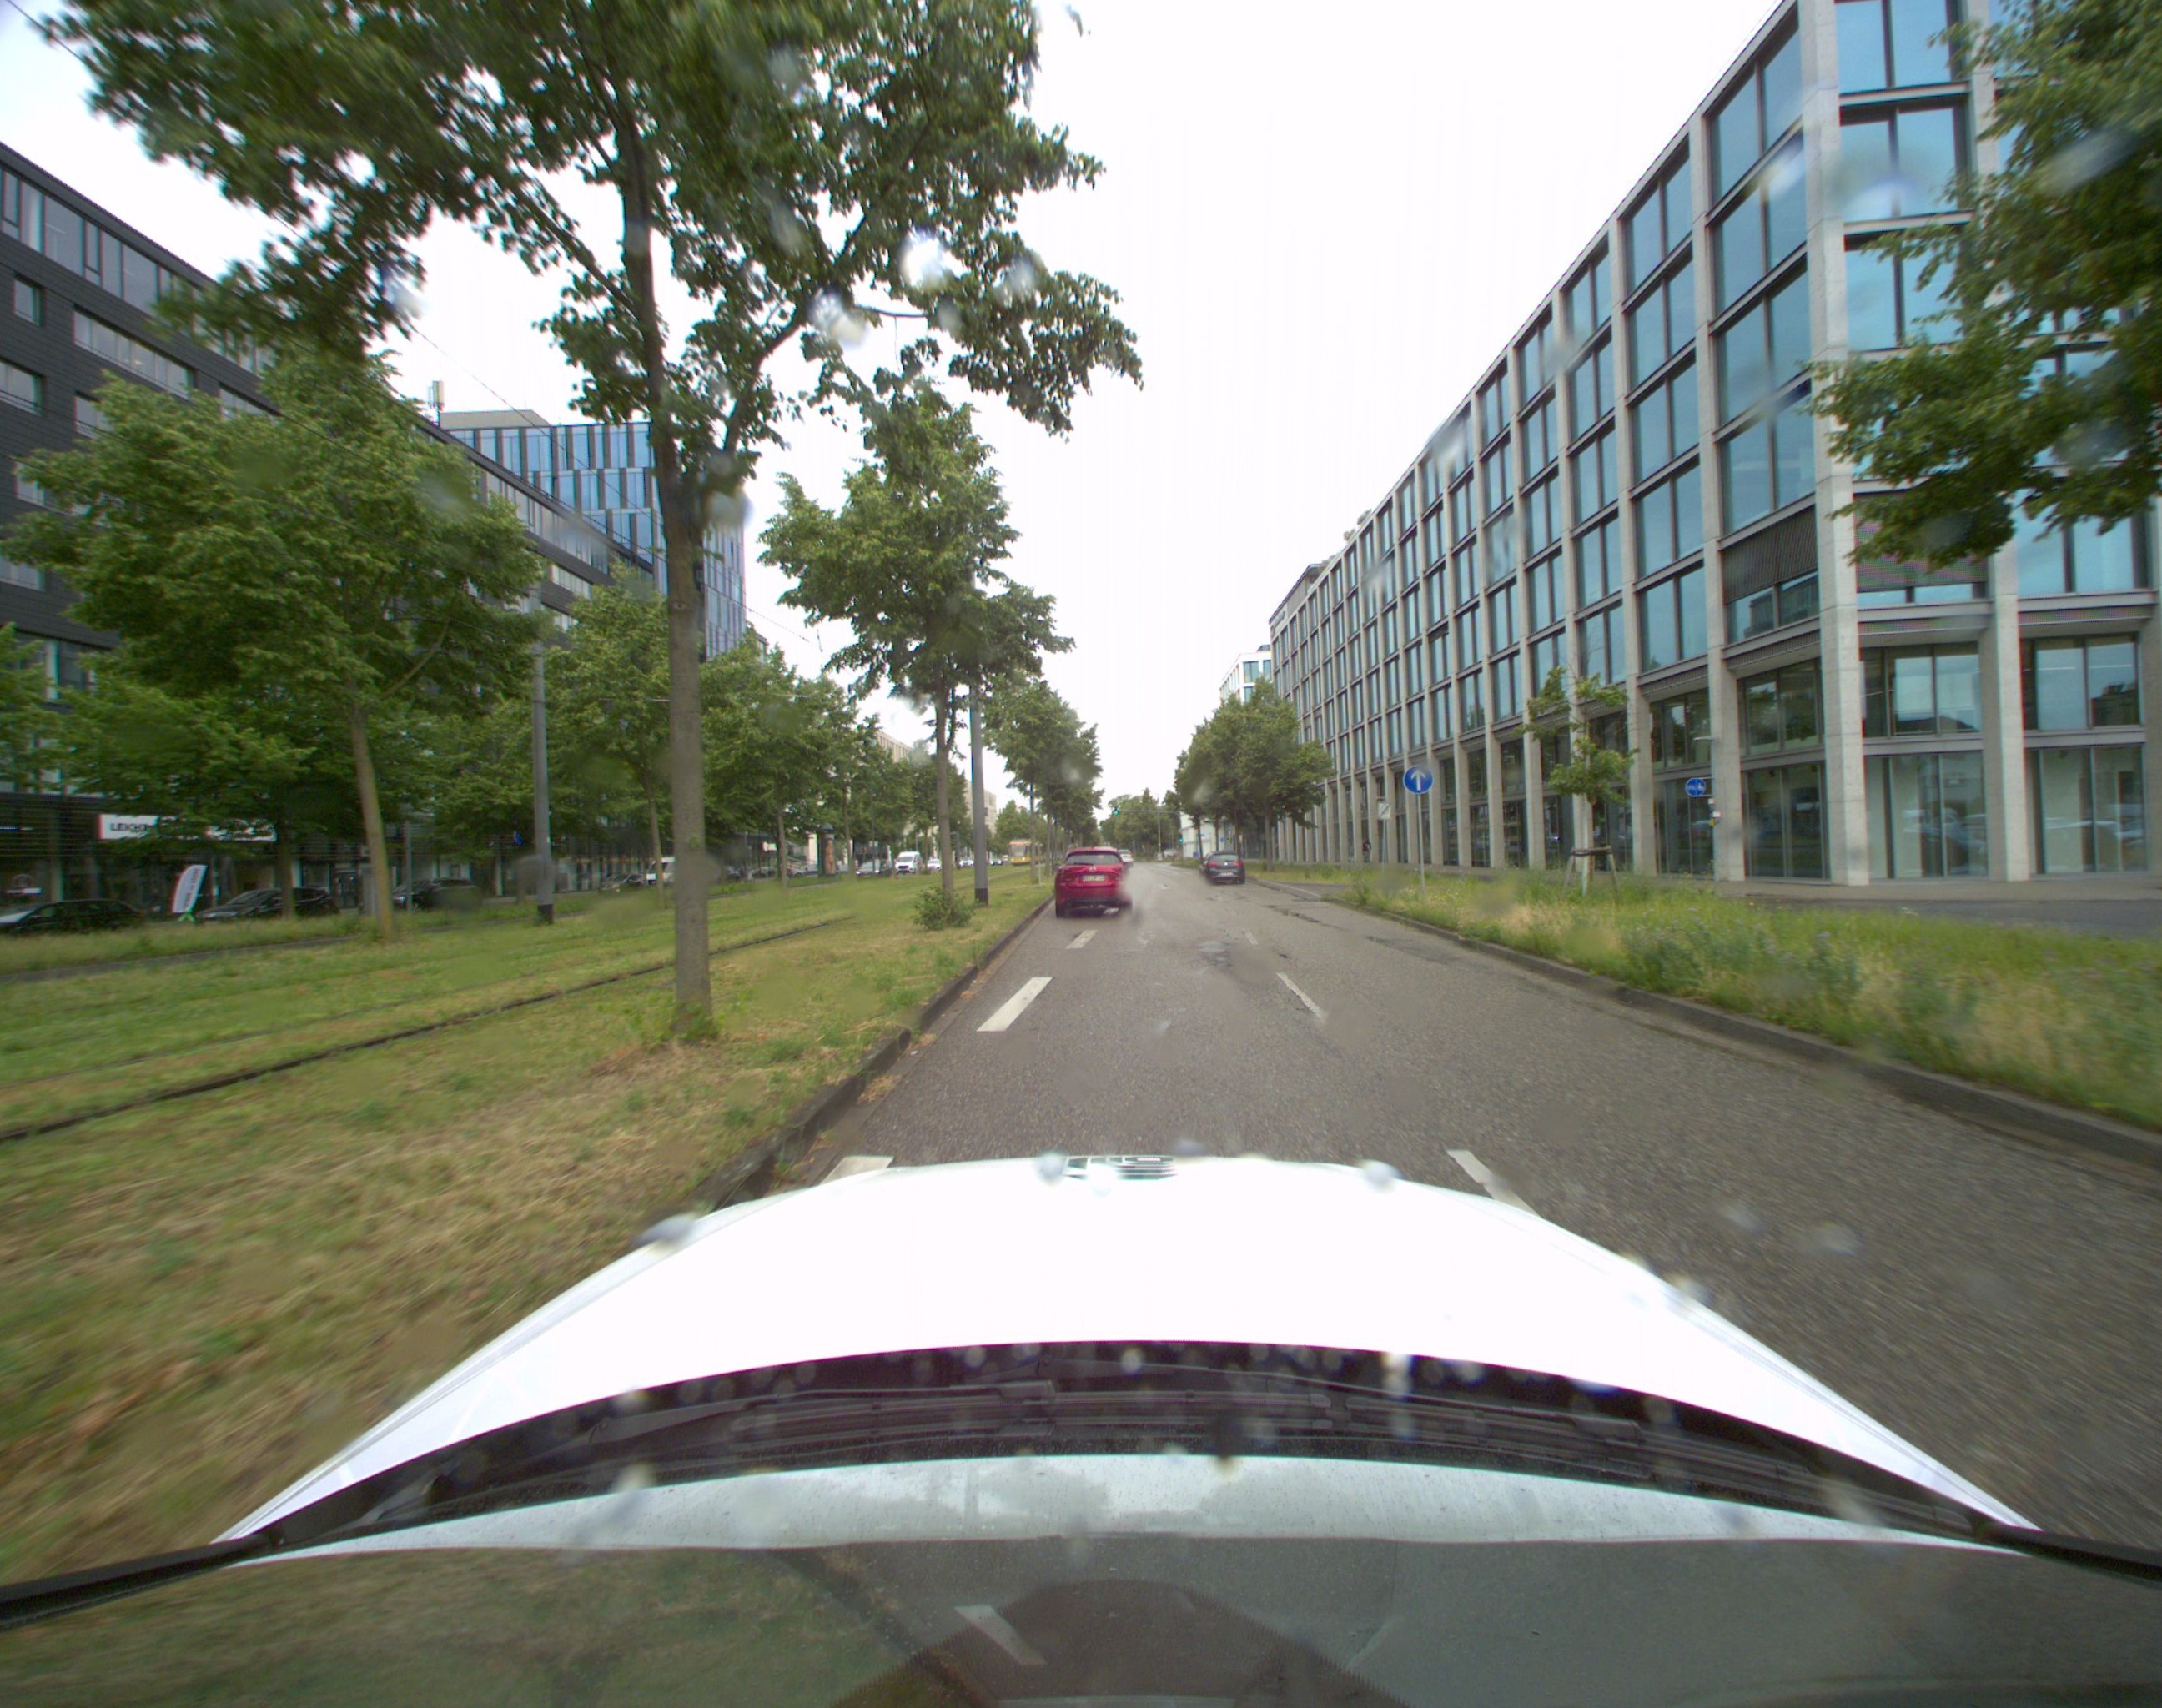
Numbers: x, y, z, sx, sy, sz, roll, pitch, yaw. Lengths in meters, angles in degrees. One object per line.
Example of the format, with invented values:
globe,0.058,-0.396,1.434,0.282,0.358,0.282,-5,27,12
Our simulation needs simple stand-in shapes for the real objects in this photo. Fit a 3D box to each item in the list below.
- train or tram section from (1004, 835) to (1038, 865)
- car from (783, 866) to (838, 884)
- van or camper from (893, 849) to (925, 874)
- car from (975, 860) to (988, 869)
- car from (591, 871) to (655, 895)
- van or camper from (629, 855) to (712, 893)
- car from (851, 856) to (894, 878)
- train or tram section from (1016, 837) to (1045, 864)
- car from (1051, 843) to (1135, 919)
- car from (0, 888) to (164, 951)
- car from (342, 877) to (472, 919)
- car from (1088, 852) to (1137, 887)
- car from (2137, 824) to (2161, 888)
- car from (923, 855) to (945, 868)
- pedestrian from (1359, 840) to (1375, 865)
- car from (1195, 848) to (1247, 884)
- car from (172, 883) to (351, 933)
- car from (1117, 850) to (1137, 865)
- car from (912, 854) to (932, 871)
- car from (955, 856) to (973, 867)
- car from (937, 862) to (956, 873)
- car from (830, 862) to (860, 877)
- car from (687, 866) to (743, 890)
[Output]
train or tram section,-7.723,-0.480,107.431,3.118,3.659,13.409,-2,0,1
car,-26.288,2.029,79.270,4.704,1.521,1.977,-2,0,-39
van or camper,-17.770,0.732,84.438,1.902,2.410,5.404,-2,0,2
car,-19.414,2.013,159.140,1.987,1.618,3.999,-2,0,-1
car,-30.361,1.873,54.135,1.810,1.378,4.184,-2,0,1
van or camper,-27.226,1.272,54.339,2.424,2.315,5.851,-2,0,1
car,-15.487,0.952,60.731,1.856,1.524,4.480,-2,0,2
train or tram section,-7.404,-0.487,121.683,3.118,3.659,15.067,-2,0,1
car,0.299,0.619,20.570,1.892,1.677,4.000,-2,0,1
car,-27.567,1.716,21.540,1.986,1.378,4.001,-2,0,1
car,-27.489,1.732,33.395,1.696,1.449,4.242,-2,0,1
car,1.503,0.668,37.376,1.950,1.465,3.787,-2,0,6
car,26.427,0.012,17.672,4.197,1.437,1.985,-2,2,6
car,-18.247,0.945,101.132,1.878,1.459,4.001,-2,0,1
pedestrian,20.619,-0.120,58.751,0.714,1.714,0.861,-4,0,0
car,6.218,0.518,36.469,1.737,1.465,3.783,-2,0,2
car,-27.677,1.780,27.722,1.986,1.378,4.001,-2,0,1
car,4.866,0.352,86.309,1.959,1.437,4.556,-2,0,3
car,-24.813,1.237,127.233,2.250,2.561,4.650,-1,0,-3
car,-15.499,0.979,108.445,1.704,1.404,4.001,-2,0,1
car,-19.113,1.943,115.999,1.878,1.459,4.001,3,0,1
car,-26.542,1.744,91.822,1.987,1.521,4.606,-2,0,0
car,-27.025,1.744,60.314,1.987,1.521,4.606,-2,0,0
